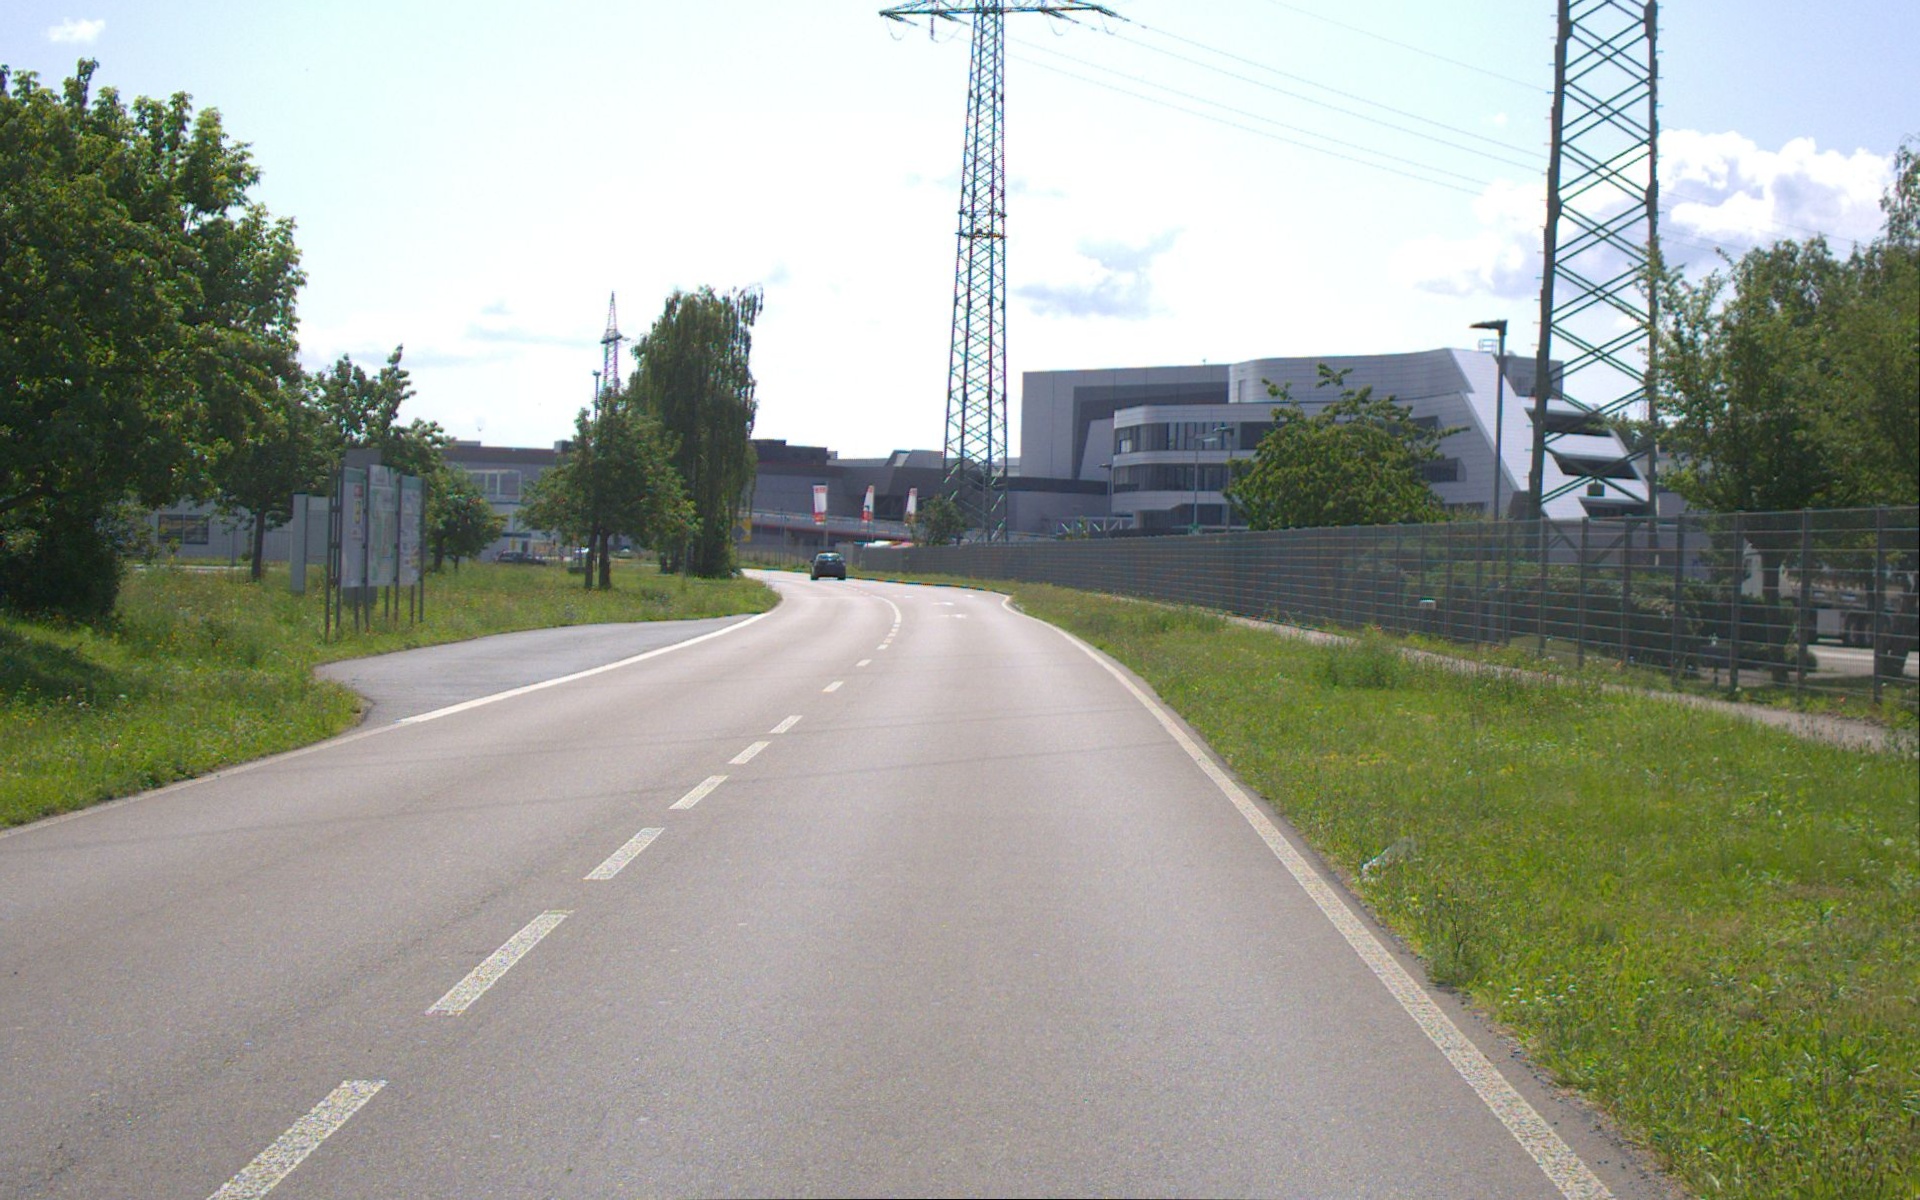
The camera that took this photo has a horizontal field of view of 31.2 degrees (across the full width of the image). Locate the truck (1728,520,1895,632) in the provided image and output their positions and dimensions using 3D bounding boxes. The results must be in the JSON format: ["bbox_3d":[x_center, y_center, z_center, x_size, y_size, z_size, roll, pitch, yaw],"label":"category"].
[{"bbox_3d":[30.404,-0.879,123.057,3.593,3.854,6.410,0,1,-9],"label":"truck"}]

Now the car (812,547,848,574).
[{"bbox_3d":[-7.528,-2.264,198.385,2.012,1.503,4.000,0,0,-3],"label":"car"}]

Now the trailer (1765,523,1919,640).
[{"bbox_3d":[31.162,-0.686,116.365,3.589,3.722,12.241,1,1,-7],"label":"trailer"}]

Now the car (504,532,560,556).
[{"bbox_3d":[-31.500,-4.124,253.016,3.986,1.568,2.001,3,2,-8],"label":"car"}]
